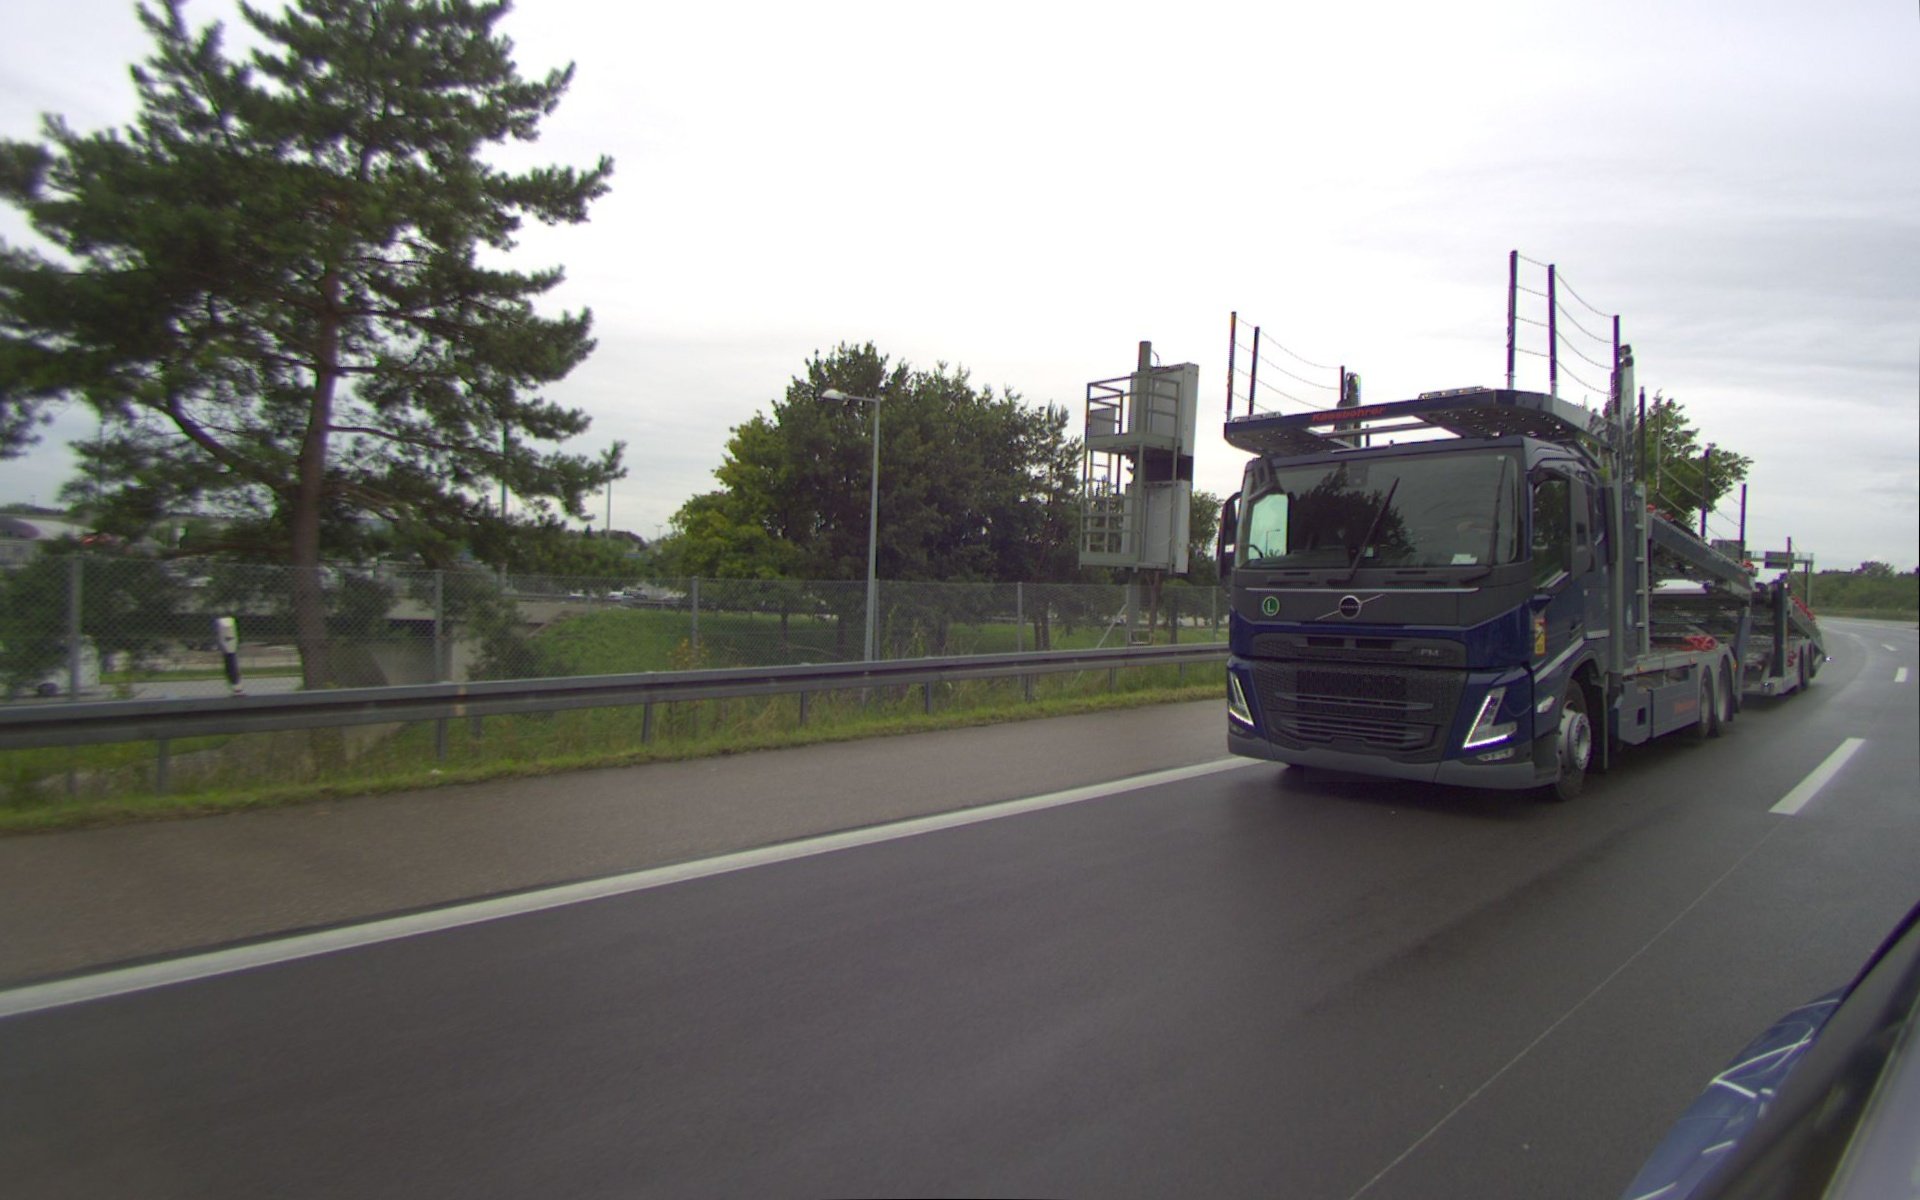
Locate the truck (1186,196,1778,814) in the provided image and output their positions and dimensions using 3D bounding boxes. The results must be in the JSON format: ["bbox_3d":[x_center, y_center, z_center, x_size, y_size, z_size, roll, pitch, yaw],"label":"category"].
[{"bbox_3d":[6.104,-0.581,10.669,8.975,4.019,2.741,1,-1,-44],"label":"truck"}]

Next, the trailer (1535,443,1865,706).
[{"bbox_3d":[13.107,-0.346,17.368,10.233,3.326,2.780,0,1,-44],"label":"trailer"}]

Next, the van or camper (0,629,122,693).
[{"bbox_3d":[-45.863,3.013,49.656,2.152,2.580,7.140,6,6,45],"label":"van or camper"}]
